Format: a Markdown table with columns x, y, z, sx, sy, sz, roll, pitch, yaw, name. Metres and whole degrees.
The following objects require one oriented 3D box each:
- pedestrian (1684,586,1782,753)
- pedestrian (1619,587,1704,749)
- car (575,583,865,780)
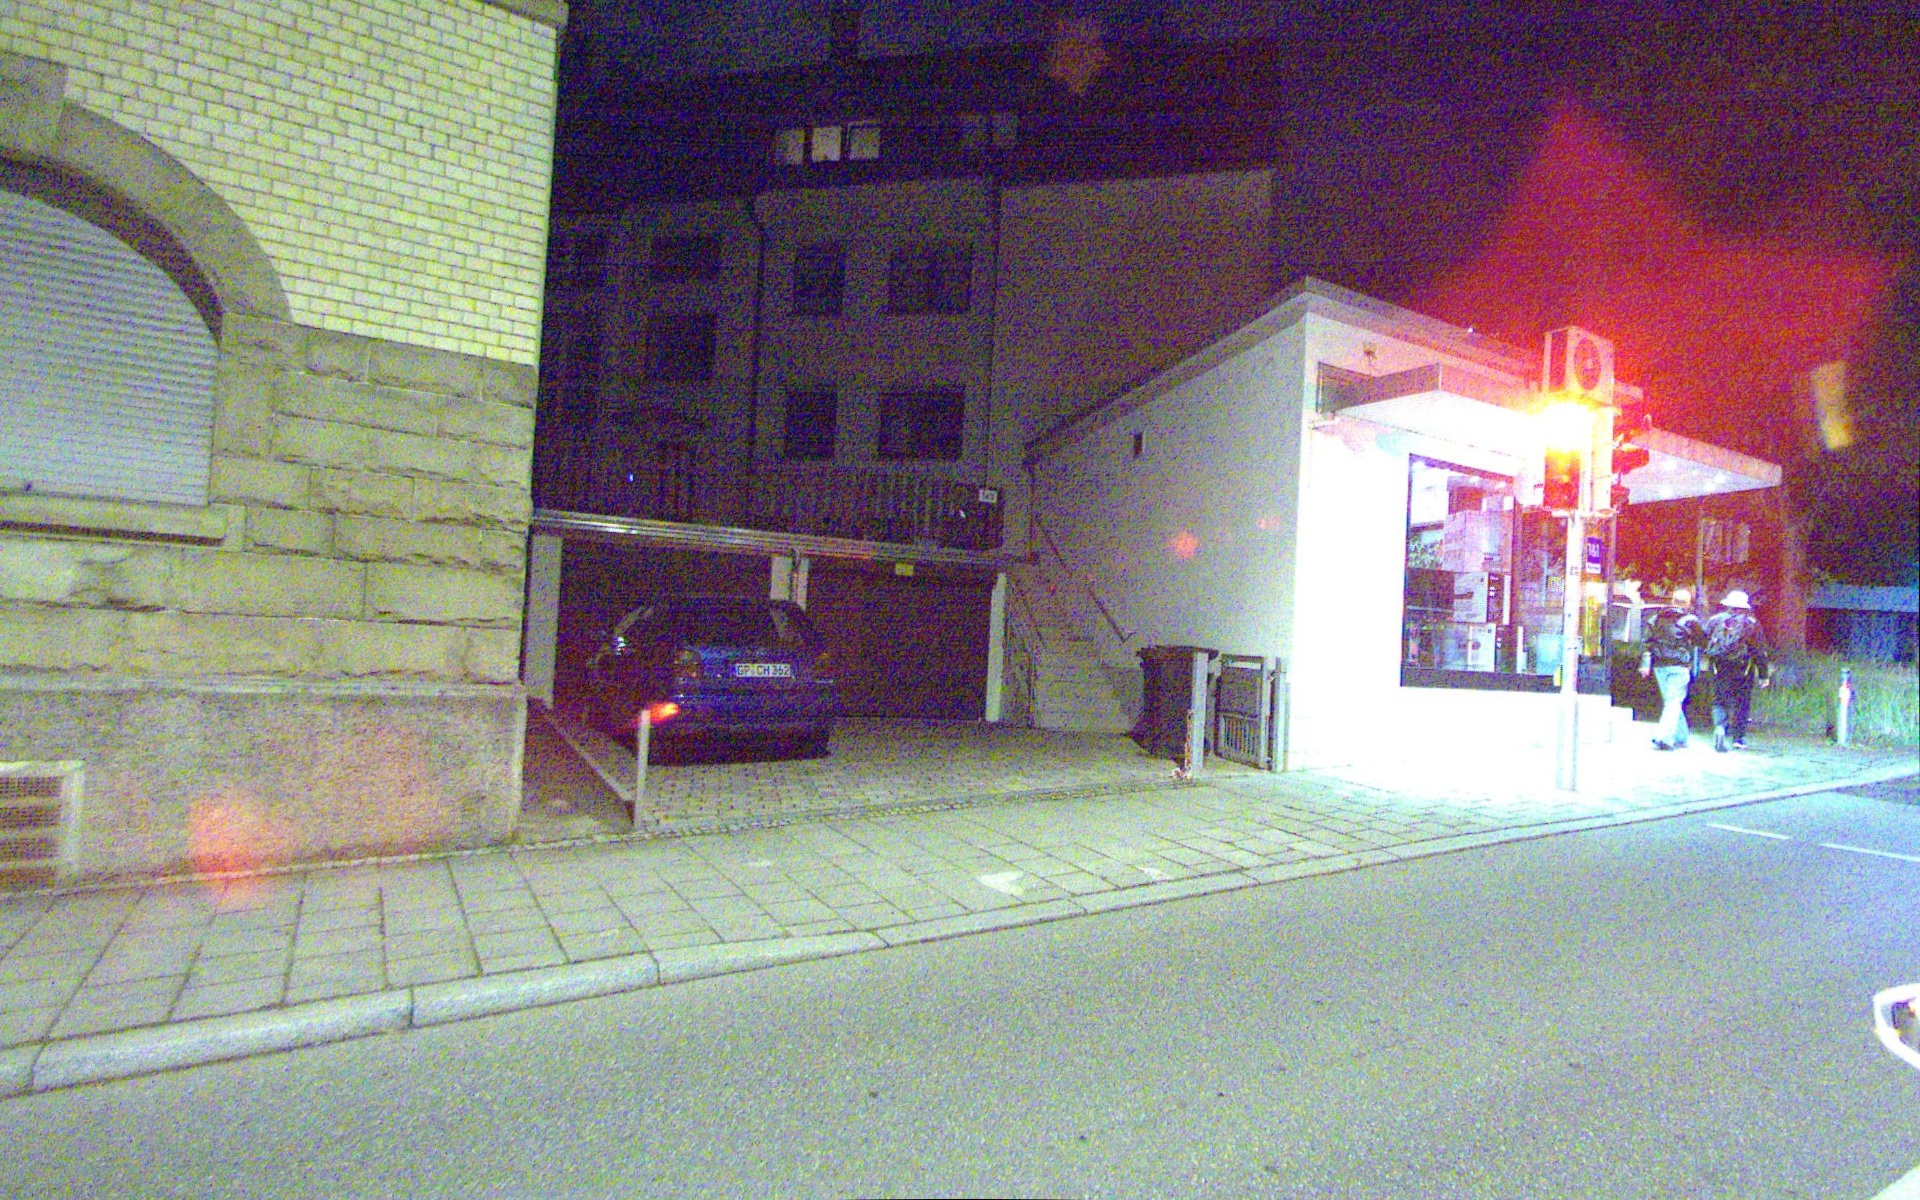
| x | y | z | sx | sy | sz | roll | pitch | yaw | name |
| --- | --- | --- | --- | --- | --- | --- | --- | --- | --- |
| 8.727 | 0.769 | 11.342 | 0.729 | 1.801 | 0.567 | 2 | 2 | -30 | pedestrian |
| 7.859 | 0.740 | 11.261 | 0.537 | 1.754 | 0.567 | 2 | 0 | -30 | pedestrian |
| -2.453 | 0.610 | 9.569 | 1.700 | 1.460 | 3.631 | 2 | 0 | -30 | car |
